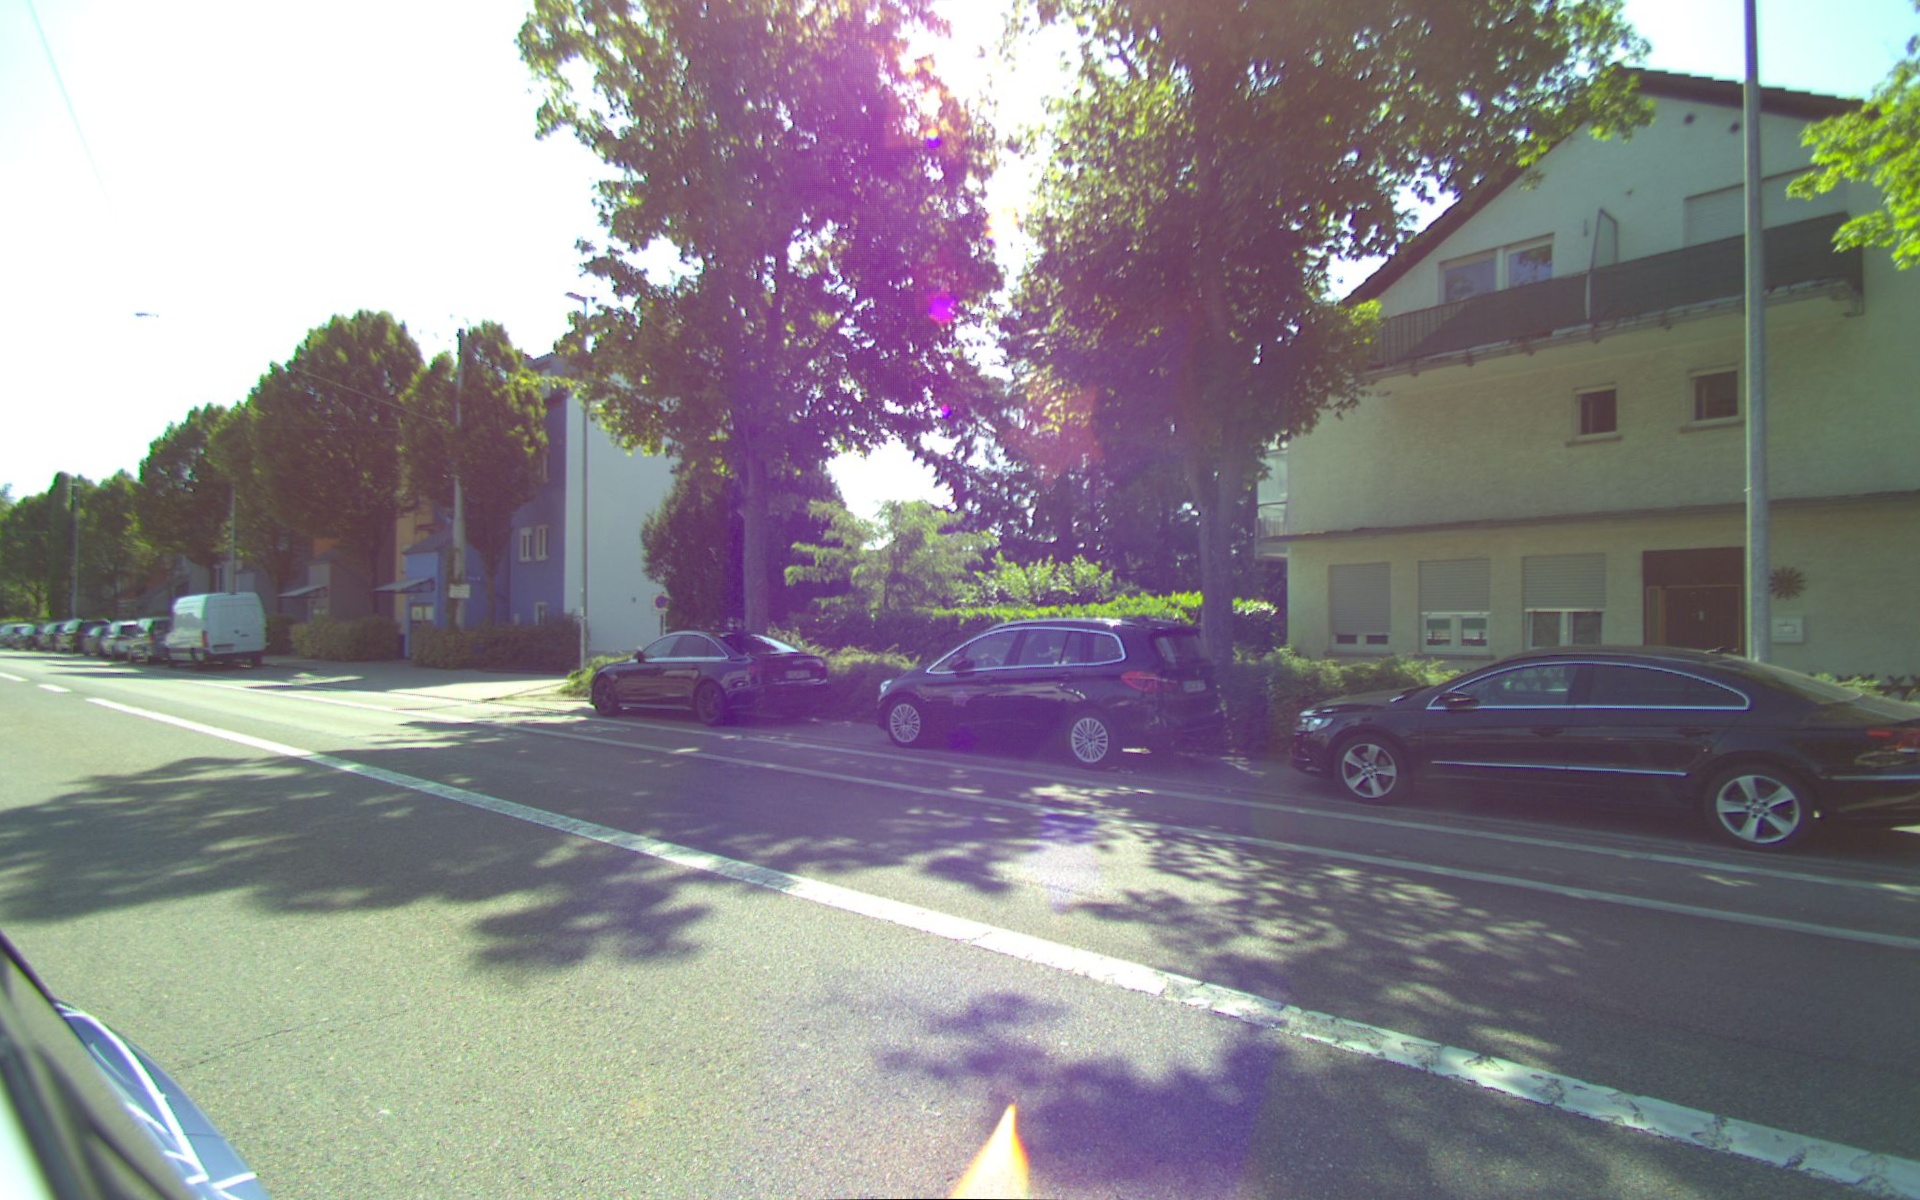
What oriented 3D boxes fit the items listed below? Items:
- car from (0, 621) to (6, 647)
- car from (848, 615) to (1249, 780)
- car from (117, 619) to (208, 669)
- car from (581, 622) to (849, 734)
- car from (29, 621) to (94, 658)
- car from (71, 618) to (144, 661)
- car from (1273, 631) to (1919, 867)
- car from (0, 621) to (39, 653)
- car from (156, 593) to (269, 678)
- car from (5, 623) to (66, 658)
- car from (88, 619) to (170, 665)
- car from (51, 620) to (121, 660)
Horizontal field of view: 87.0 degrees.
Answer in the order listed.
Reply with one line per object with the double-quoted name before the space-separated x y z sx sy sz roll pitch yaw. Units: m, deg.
"car" -68.791 2.491 71.107 4.766 1.818 1.974 -2 4 41
"car" 0.909 1.019 12.224 4.619 1.583 1.844 -1 0 41
"car" -33.525 1.813 42.502 4.766 1.818 1.974 -2 4 41
"car" -4.087 1.157 16.512 4.616 1.583 1.845 -1 -2 39
"car" -50.292 2.203 56.611 4.766 1.818 1.974 -2 4 41
"car" -42.135 1.927 49.991 4.254 1.818 1.974 -2 4 41
"car" 5.218 1.013 8.441 4.619 1.426 1.844 -1 0 41
"car" -60.246 2.355 64.232 4.766 1.818 1.974 -2 4 41
"car" -27.379 1.242 36.954 6.213 2.713 1.973 -2 4 43
"car" -54.914 2.381 60.098 4.766 1.818 1.974 -2 4 41
"car" -38.063 1.879 46.319 4.766 1.818 1.974 -2 4 41
"car" -45.843 2.049 53.051 4.766 1.818 1.974 -2 4 41
